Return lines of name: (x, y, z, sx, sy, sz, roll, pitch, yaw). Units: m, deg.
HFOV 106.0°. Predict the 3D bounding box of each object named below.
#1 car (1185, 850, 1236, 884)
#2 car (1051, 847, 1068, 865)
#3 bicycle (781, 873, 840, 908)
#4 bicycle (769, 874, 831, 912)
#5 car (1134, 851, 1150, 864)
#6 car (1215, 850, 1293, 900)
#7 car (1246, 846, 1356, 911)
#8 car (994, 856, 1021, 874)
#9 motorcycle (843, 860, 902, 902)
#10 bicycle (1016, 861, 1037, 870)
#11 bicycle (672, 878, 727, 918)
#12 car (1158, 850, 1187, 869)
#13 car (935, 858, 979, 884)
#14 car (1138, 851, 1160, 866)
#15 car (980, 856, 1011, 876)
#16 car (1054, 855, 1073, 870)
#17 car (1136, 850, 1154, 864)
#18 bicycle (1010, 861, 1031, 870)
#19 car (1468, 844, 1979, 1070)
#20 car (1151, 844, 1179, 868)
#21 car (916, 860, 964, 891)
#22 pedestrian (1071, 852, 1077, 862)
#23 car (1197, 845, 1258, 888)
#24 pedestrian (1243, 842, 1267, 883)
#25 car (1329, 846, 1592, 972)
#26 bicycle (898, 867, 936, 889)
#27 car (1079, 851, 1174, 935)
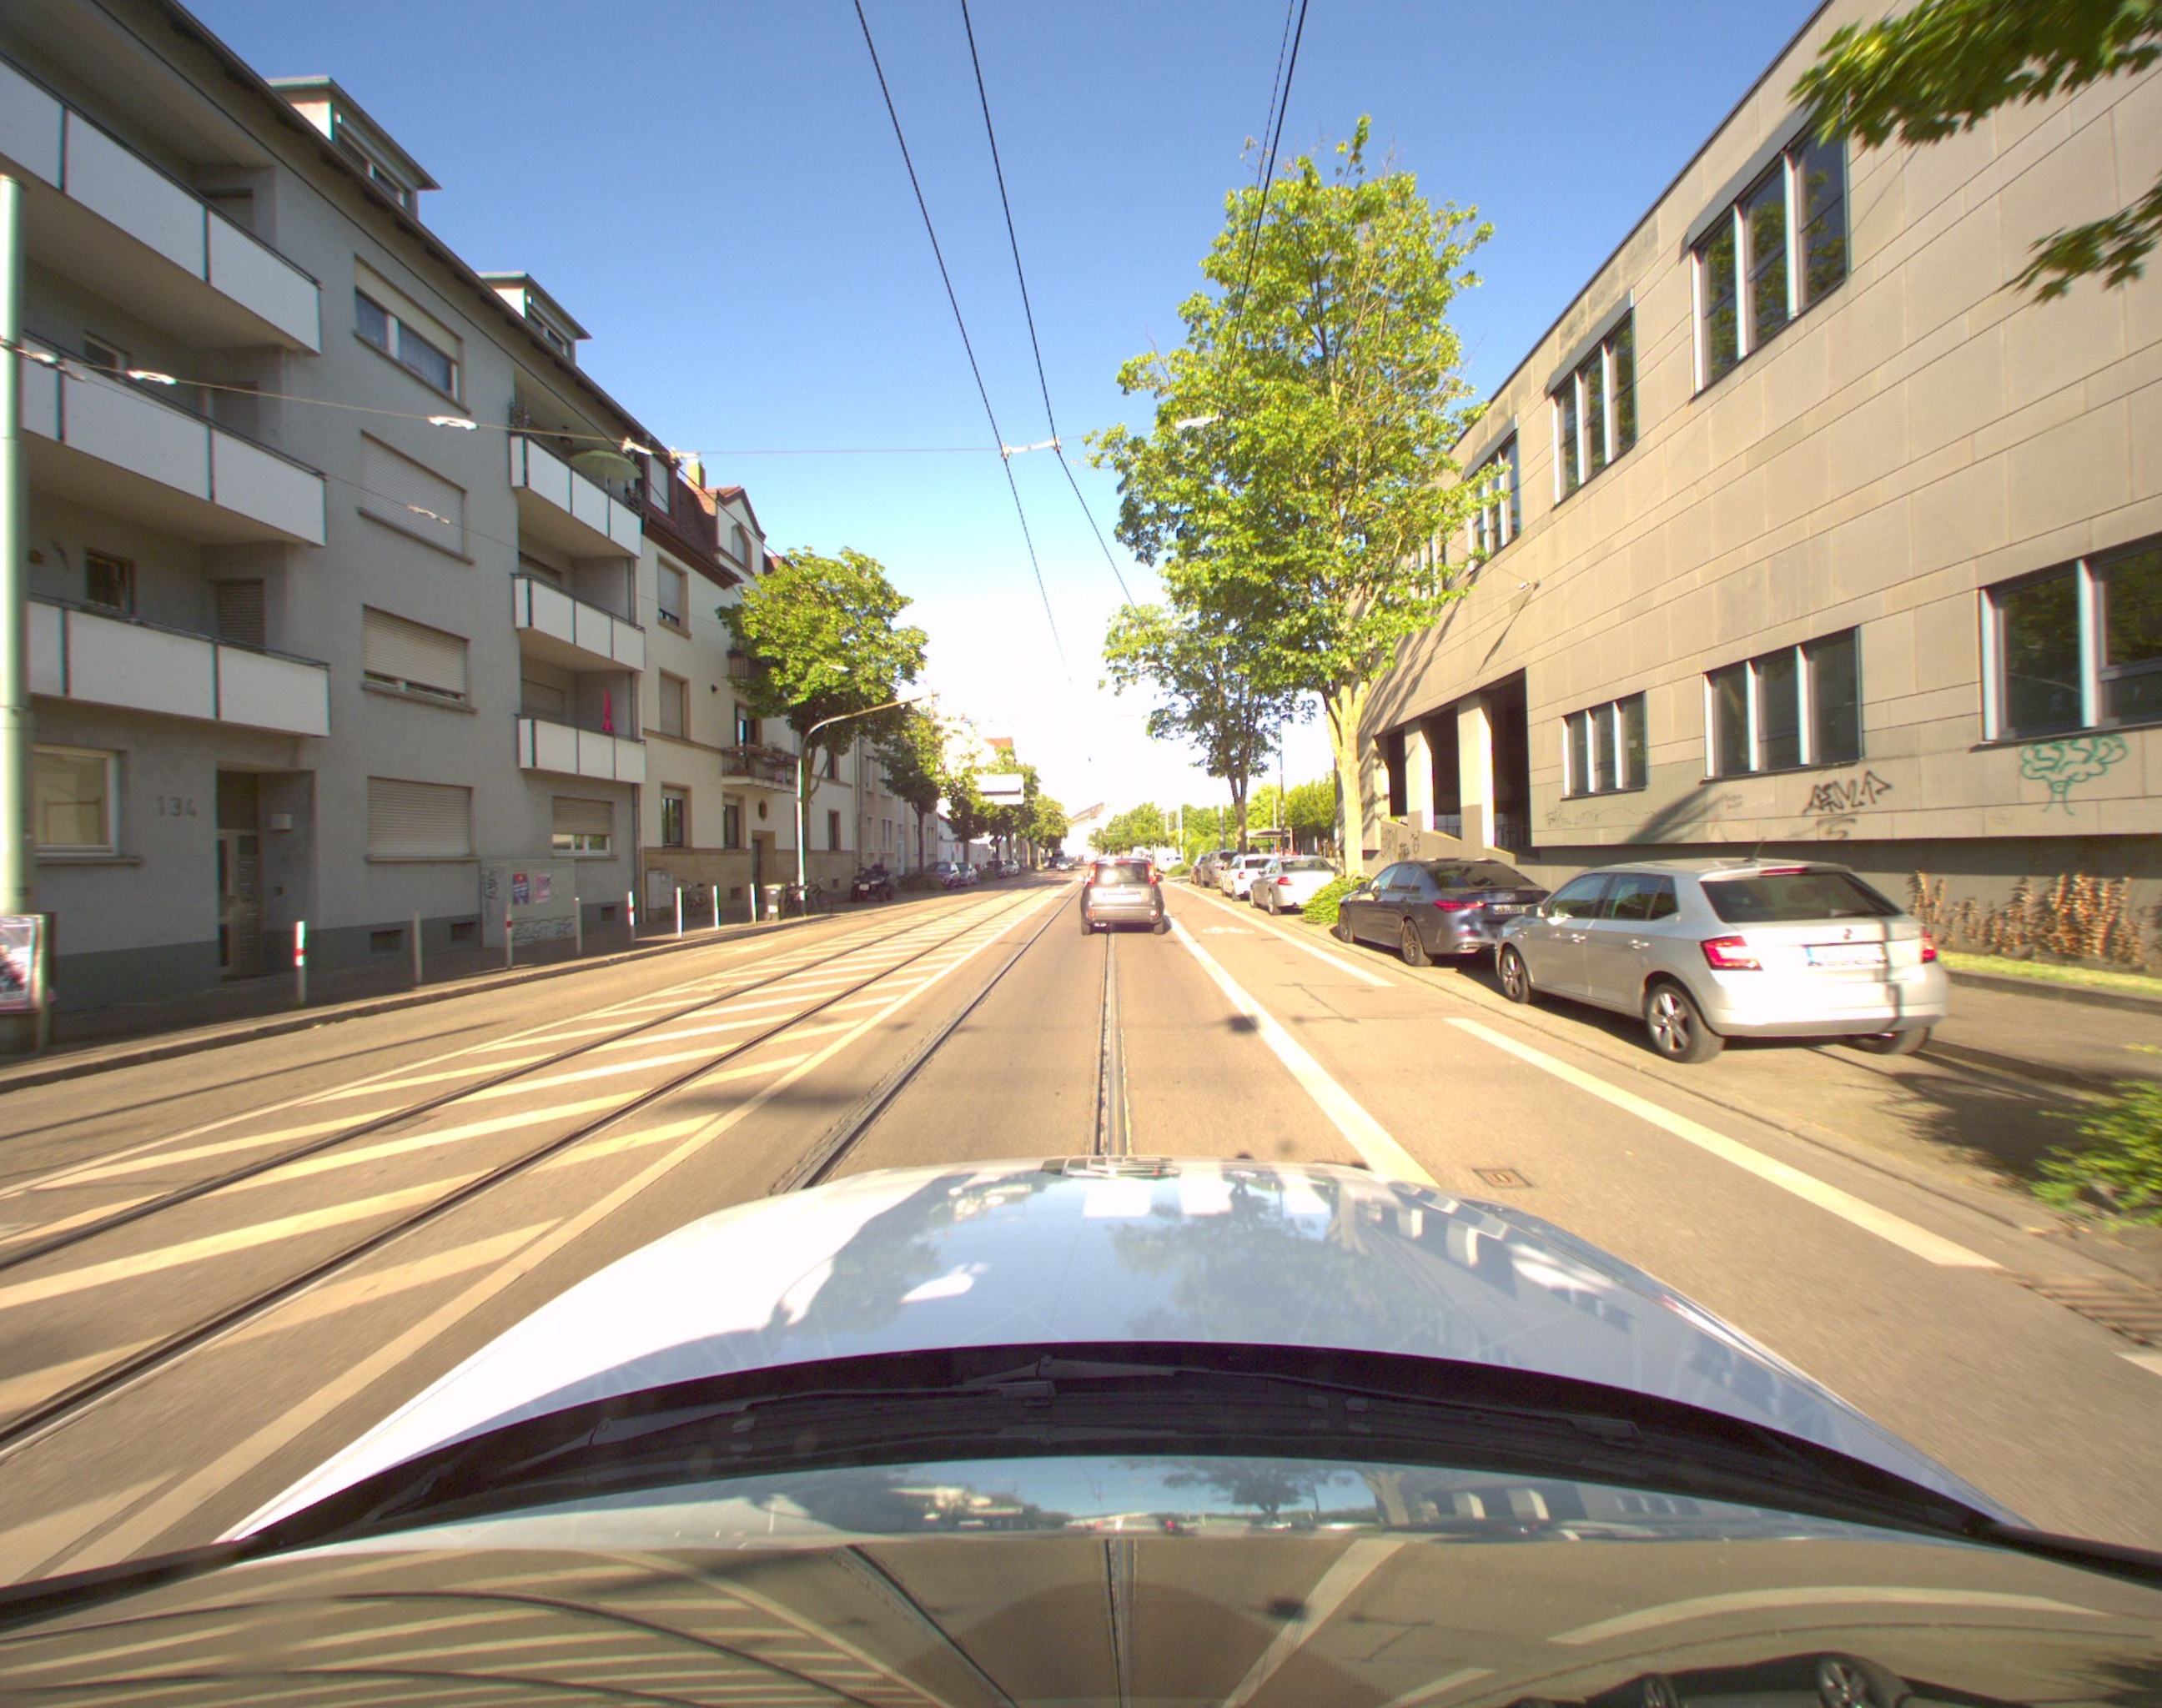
car: (6.241, 0.609, 39.661, 1.836, 1.483, 4.188, -2, 0, 0)
car: (-3.296, 0.264, 126.923, 2.325, 2.569, 5.674, -2, 0, 2)
bicycle: (-8.358, 1.126, 25.204, 1.711, 1.033, 0.441, 0, -1, -19)
bicycle: (-8.074, 1.113, 23.428, 1.617, 1.044, 0.454, 0, -1, -30)
car: (7.395, 0.455, 98.946, 1.690, 1.499, 4.000, -2, 0, 1)
car: (5.633, 0.619, 27.010, 1.739, 1.458, 4.621, -2, 0, 2)
car: (5.548, 0.565, 21.068, 1.815, 1.464, 4.158, -2, 0, 2)
car: (-6.448, 0.939, 71.875, 1.949, 1.419, 4.188, -2, 0, 0)
motorcycle: (-8.211, 1.036, 32.256, 1.453, 1.481, 3.102, -2, 0, 1)
bicycle: (-5.931, 1.229, 88.579, 2.295, 0.930, 0.796, -2, 0, 37)
bicycle: (-10.728, 1.212, 22.980, 0.504, 1.007, 2.021, -2, 0, 2)
car: (7.318, 0.408, 65.513, 1.908, 1.375, 4.188, -2, 0, 0)
car: (-7.412, 1.005, 49.055, 1.949, 1.419, 4.188, -2, 0, 0)
car: (6.986, 0.490, 84.115, 1.949, 1.419, 4.188, -2, 0, 0)
car: (-6.725, 0.946, 64.564, 1.949, 1.419, 4.188, -2, 0, 0)
car: (-1.702, 0.827, 81.725, 1.775, 1.492, 4.188, -1, 0, 0)
car: (7.217, 0.330, 92.525, 1.690, 1.547, 4.000, -2, 0, 1)
bicycle: (-6.534, 1.235, 87.676, 2.237, 0.930, 0.796, -2, 0, 37)
car: (5.228, 0.687, 7.411, 1.635, 1.455, 3.917, -2, 0, 2)
car: (7.220, 0.168, 70.431, 1.949, 1.905, 4.188, -2, 0, 0)
car: (-7.516, 1.101, 43.812, 1.792, 1.486, 4.000, -2, 0, 0)
pedestrian: (-1.312, 0.489, 145.400, 0.996, 1.774, 0.889, -2, 0, -3)
car: (6.142, 0.505, 34.561, 1.811, 1.640, 4.105, -2, 0, 0)
pedestrian: (8.783, 0.416, 41.211, 0.964, 2.013, 1.026, -2, 0, 3)
car: (5.396, 0.670, 12.379, 1.833, 1.490, 4.642, -2, 0, 0)
bicycle: (-8.013, 1.170, 39.850, 1.749, 1.023, 0.605, -1, -1, -19)
car: (0.919, 0.741, 17.110, 1.724, 1.500, 4.002, -2, 0, 2)
